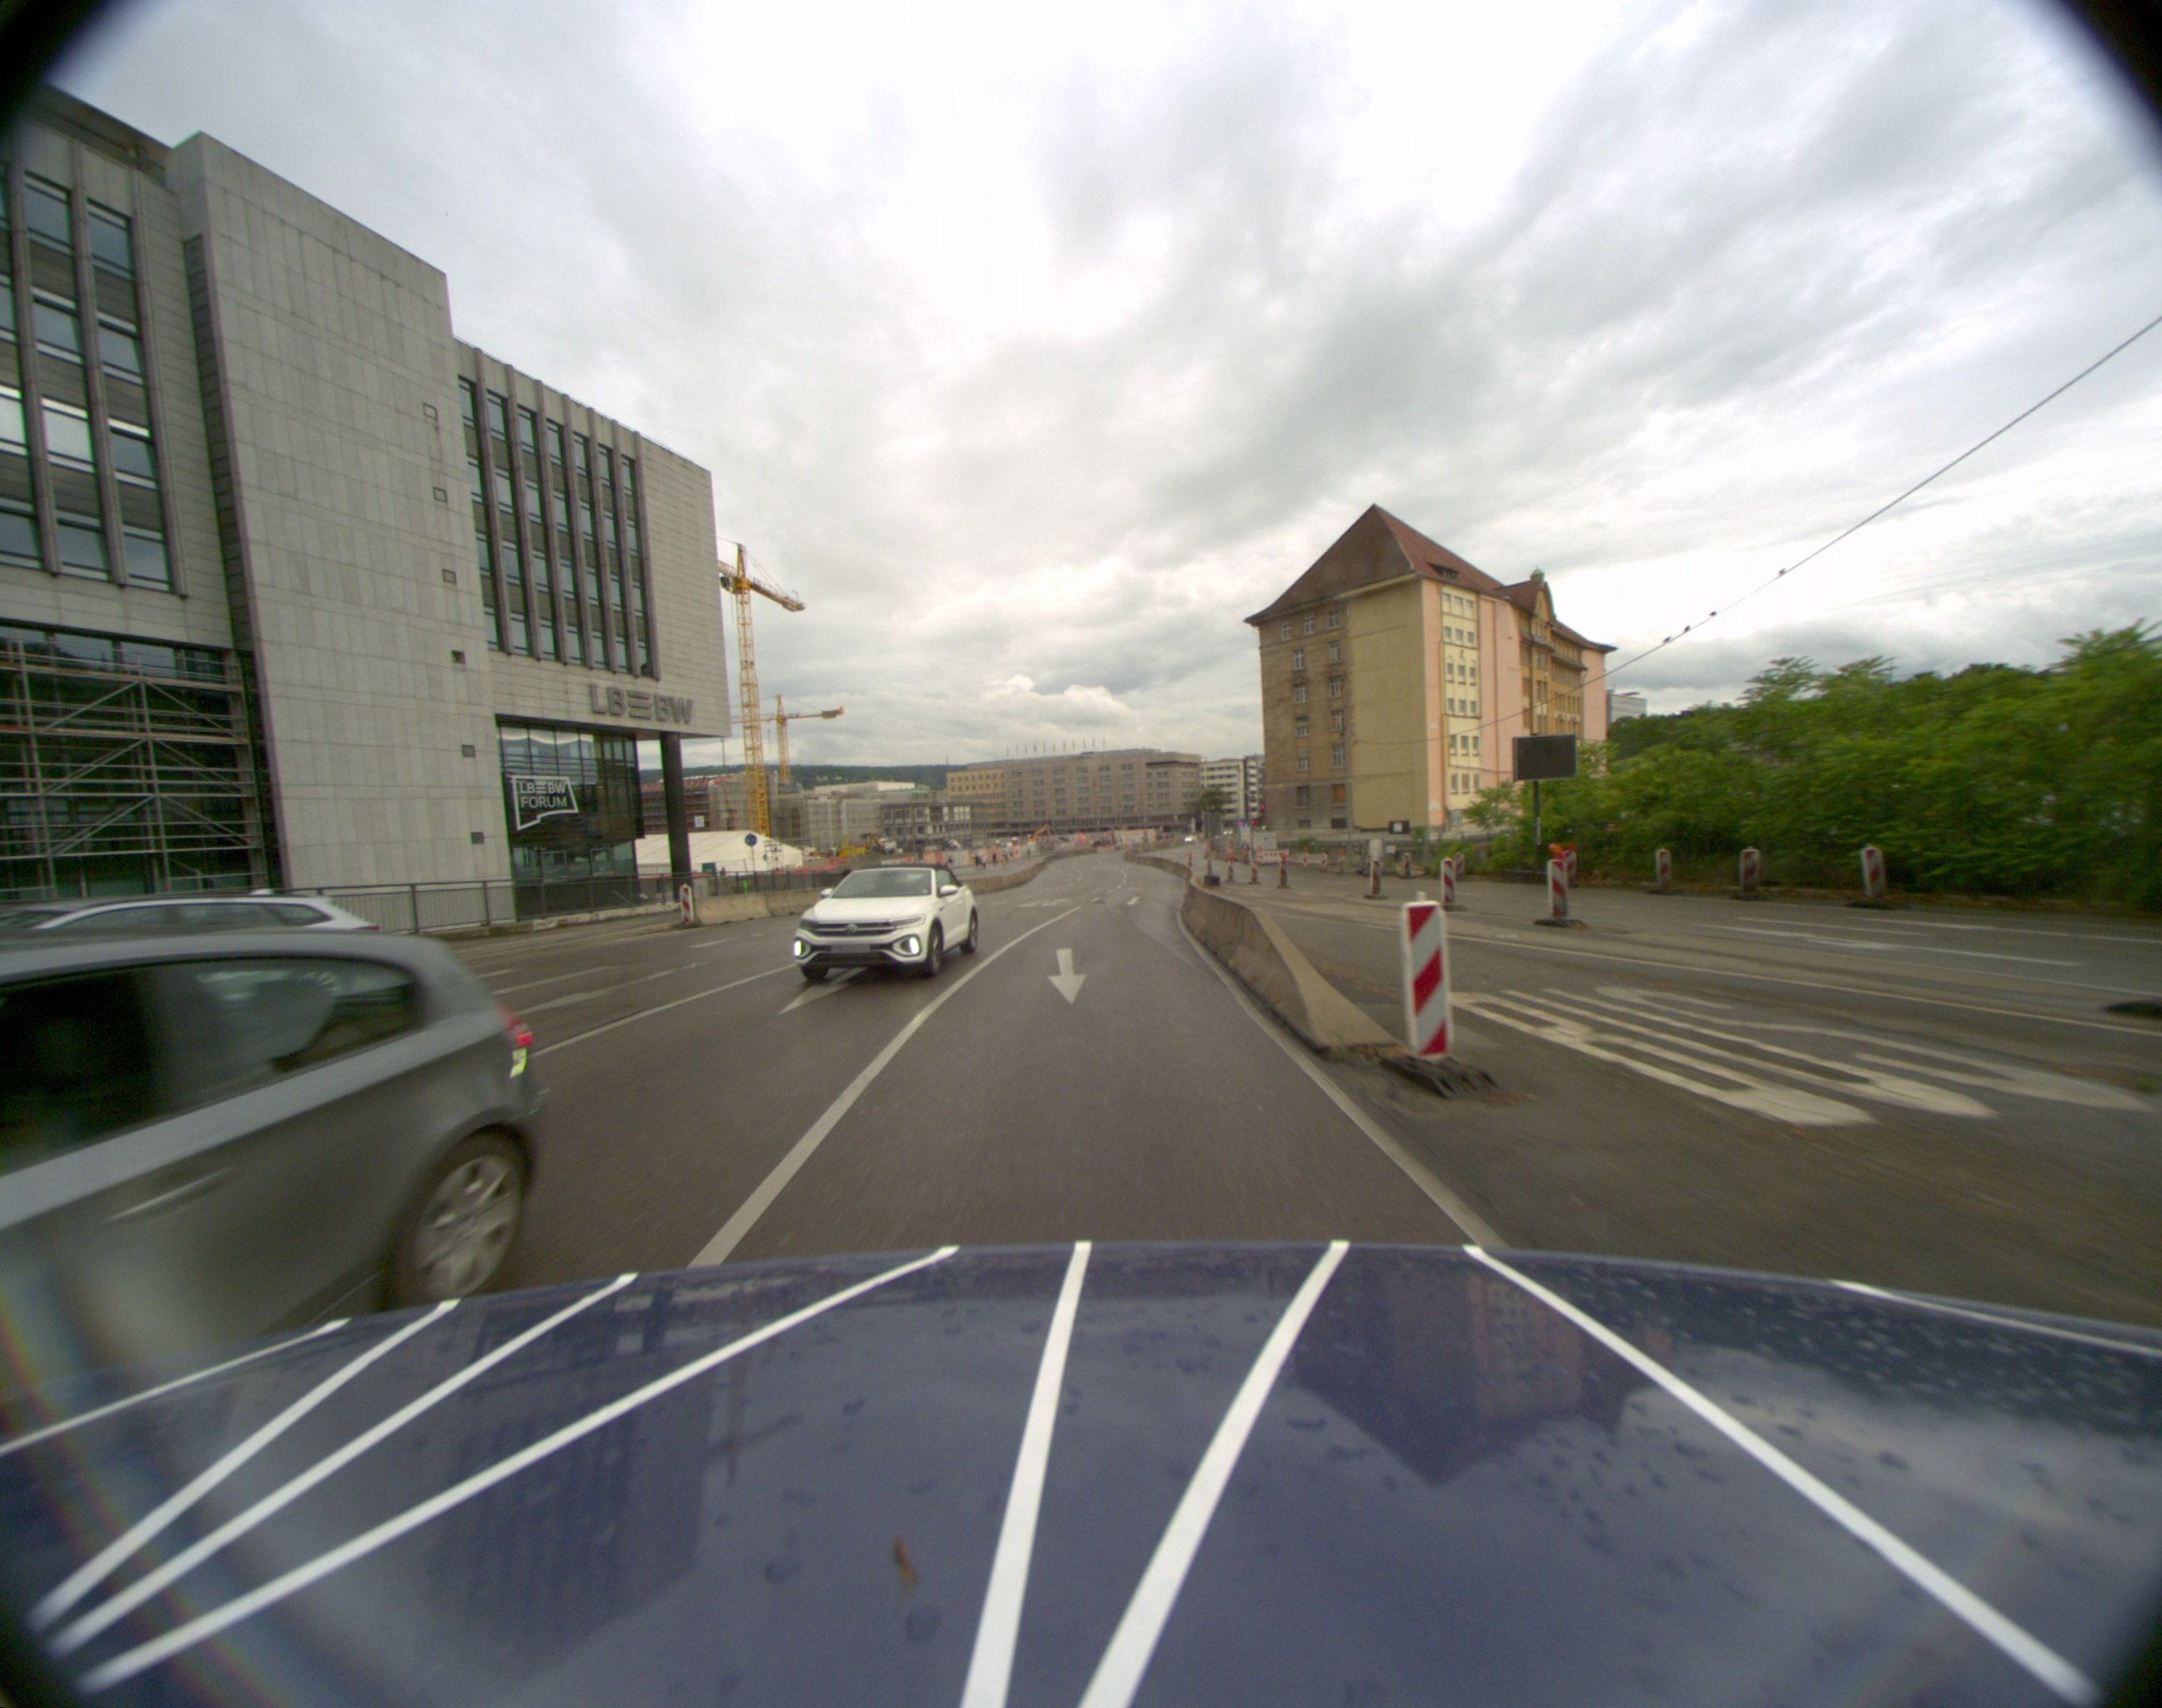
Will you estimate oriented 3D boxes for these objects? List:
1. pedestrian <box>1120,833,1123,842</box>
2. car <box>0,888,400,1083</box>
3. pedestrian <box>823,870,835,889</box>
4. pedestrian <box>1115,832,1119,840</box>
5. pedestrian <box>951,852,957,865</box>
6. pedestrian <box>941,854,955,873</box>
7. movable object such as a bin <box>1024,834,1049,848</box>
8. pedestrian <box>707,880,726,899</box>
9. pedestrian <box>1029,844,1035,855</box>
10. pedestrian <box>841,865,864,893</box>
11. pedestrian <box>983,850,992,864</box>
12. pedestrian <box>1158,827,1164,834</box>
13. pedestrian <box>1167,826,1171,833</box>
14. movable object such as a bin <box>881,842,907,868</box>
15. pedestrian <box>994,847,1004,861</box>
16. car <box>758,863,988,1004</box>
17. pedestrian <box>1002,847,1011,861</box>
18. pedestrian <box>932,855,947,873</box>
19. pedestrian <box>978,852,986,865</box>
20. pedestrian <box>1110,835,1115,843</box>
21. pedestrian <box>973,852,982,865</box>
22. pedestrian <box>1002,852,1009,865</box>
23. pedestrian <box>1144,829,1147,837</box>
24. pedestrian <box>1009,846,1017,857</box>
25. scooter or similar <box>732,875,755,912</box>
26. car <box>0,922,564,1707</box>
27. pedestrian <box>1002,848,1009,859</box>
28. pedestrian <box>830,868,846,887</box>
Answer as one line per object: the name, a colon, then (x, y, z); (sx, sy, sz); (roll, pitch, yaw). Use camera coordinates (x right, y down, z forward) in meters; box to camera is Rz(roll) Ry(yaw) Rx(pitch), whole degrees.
pedestrian: (8.472, -3.474, 158.644); (0.585, 1.699, 0.677); (-1, 4, 11)
car: (-9.636, 1.205, 7.228); (1.704, 1.442, 4.618); (-3, 0, 8)
pedestrian: (-22.847, 2.309, 68.872); (0.753, 1.628, 0.586); (-6, 4, -42)
pedestrian: (7.370, -3.671, 154.983); (0.654, 1.682, 0.776); (0, 4, 23)
pedestrian: (-16.571, 0.578, 99.324); (0.567, 1.739, 0.495); (-2, 3, 17)
pedestrian: (-11.828, 0.853, 67.543); (0.732, 1.566, 0.806); (-2, 3, 27)
movable object such as a bin: (-8.421, -2.482, 143.987); (4.134, 2.522, 1.994); (-5, 4, -36)
pedestrian: (-31.420, 3.050, 65.466); (0.867, 1.545, 1.009); (-1, 4, 28)
pedestrian: (-7.756, -0.771, 119.596); (0.746, 1.697, 0.687); (-1, 4, 13)
pedestrian: (-14.095, 1.516, 46.789); (0.730, 1.643, 1.062); (-2, 2, 27)
pedestrian: (-11.983, 0.399, 97.397); (0.778, 1.713, 0.892); (-2, 3, 18)
pedestrian: (19.627, -5.746, 186.333); (1.097, 1.752, 0.907); (0, 4, 26)
pedestrian: (21.737, -5.979, 187.429); (0.756, 1.752, 0.766); (-1, 4, 11)
movable object such as a bin: (-26.479, 0.080, 107.676); (1.941, 3.391, 4.230); (-3, 3, 6)
pedestrian: (-11.439, -0.024, 105.737); (0.867, 1.808, 1.009); (-2, 3, 18)
car: (-2.796, 0.998, 11.365); (1.968, 1.540, 4.219); (-3, 1, 4)
pedestrian: (-10.816, 0.000, 110.551); (0.818, 1.839, 0.933); (-1, 4, 35)
pedestrian: (-12.612, 0.883, 67.805); (0.861, 1.585, 0.953); (-1, 4, 27)
pedestrian: (-12.671, 0.582, 97.646); (0.609, 1.514, 0.886); (-2, 3, 18)
pedestrian: (6.239, -2.991, 151.055); (0.654, 1.682, 0.776); (0, 4, 23)
pedestrian: (-13.355, 0.609, 97.761); (0.715, 1.545, 1.009); (-2, 3, 18)
pedestrian: (-9.536, 0.538, 96.088); (0.648, 1.624, 0.907); (-3, 3, -1)
pedestrian: (14.558, -4.702, 171.959); (0.648, 1.660, 0.766); (-1, 4, 11)
pedestrian: (-10.087, -0.325, 112.606); (0.647, 1.545, 0.767); (-1, 4, 35)
scooter or similar: (-11.114, 1.297, 25.026); (0.349, 1.156, 0.573); (-2, 2, 14)
car: (-2.911, 1.062, 1.064); (1.744, 1.435, 3.998); (-3, 1, -4)
pedestrian: (-11.151, -0.061, 112.561); (0.647, 1.646, 0.767); (-1, 4, 35)
pedestrian: (-23.791, 2.287, 74.390); (0.867, 1.716, 1.009); (-1, 4, 28)
